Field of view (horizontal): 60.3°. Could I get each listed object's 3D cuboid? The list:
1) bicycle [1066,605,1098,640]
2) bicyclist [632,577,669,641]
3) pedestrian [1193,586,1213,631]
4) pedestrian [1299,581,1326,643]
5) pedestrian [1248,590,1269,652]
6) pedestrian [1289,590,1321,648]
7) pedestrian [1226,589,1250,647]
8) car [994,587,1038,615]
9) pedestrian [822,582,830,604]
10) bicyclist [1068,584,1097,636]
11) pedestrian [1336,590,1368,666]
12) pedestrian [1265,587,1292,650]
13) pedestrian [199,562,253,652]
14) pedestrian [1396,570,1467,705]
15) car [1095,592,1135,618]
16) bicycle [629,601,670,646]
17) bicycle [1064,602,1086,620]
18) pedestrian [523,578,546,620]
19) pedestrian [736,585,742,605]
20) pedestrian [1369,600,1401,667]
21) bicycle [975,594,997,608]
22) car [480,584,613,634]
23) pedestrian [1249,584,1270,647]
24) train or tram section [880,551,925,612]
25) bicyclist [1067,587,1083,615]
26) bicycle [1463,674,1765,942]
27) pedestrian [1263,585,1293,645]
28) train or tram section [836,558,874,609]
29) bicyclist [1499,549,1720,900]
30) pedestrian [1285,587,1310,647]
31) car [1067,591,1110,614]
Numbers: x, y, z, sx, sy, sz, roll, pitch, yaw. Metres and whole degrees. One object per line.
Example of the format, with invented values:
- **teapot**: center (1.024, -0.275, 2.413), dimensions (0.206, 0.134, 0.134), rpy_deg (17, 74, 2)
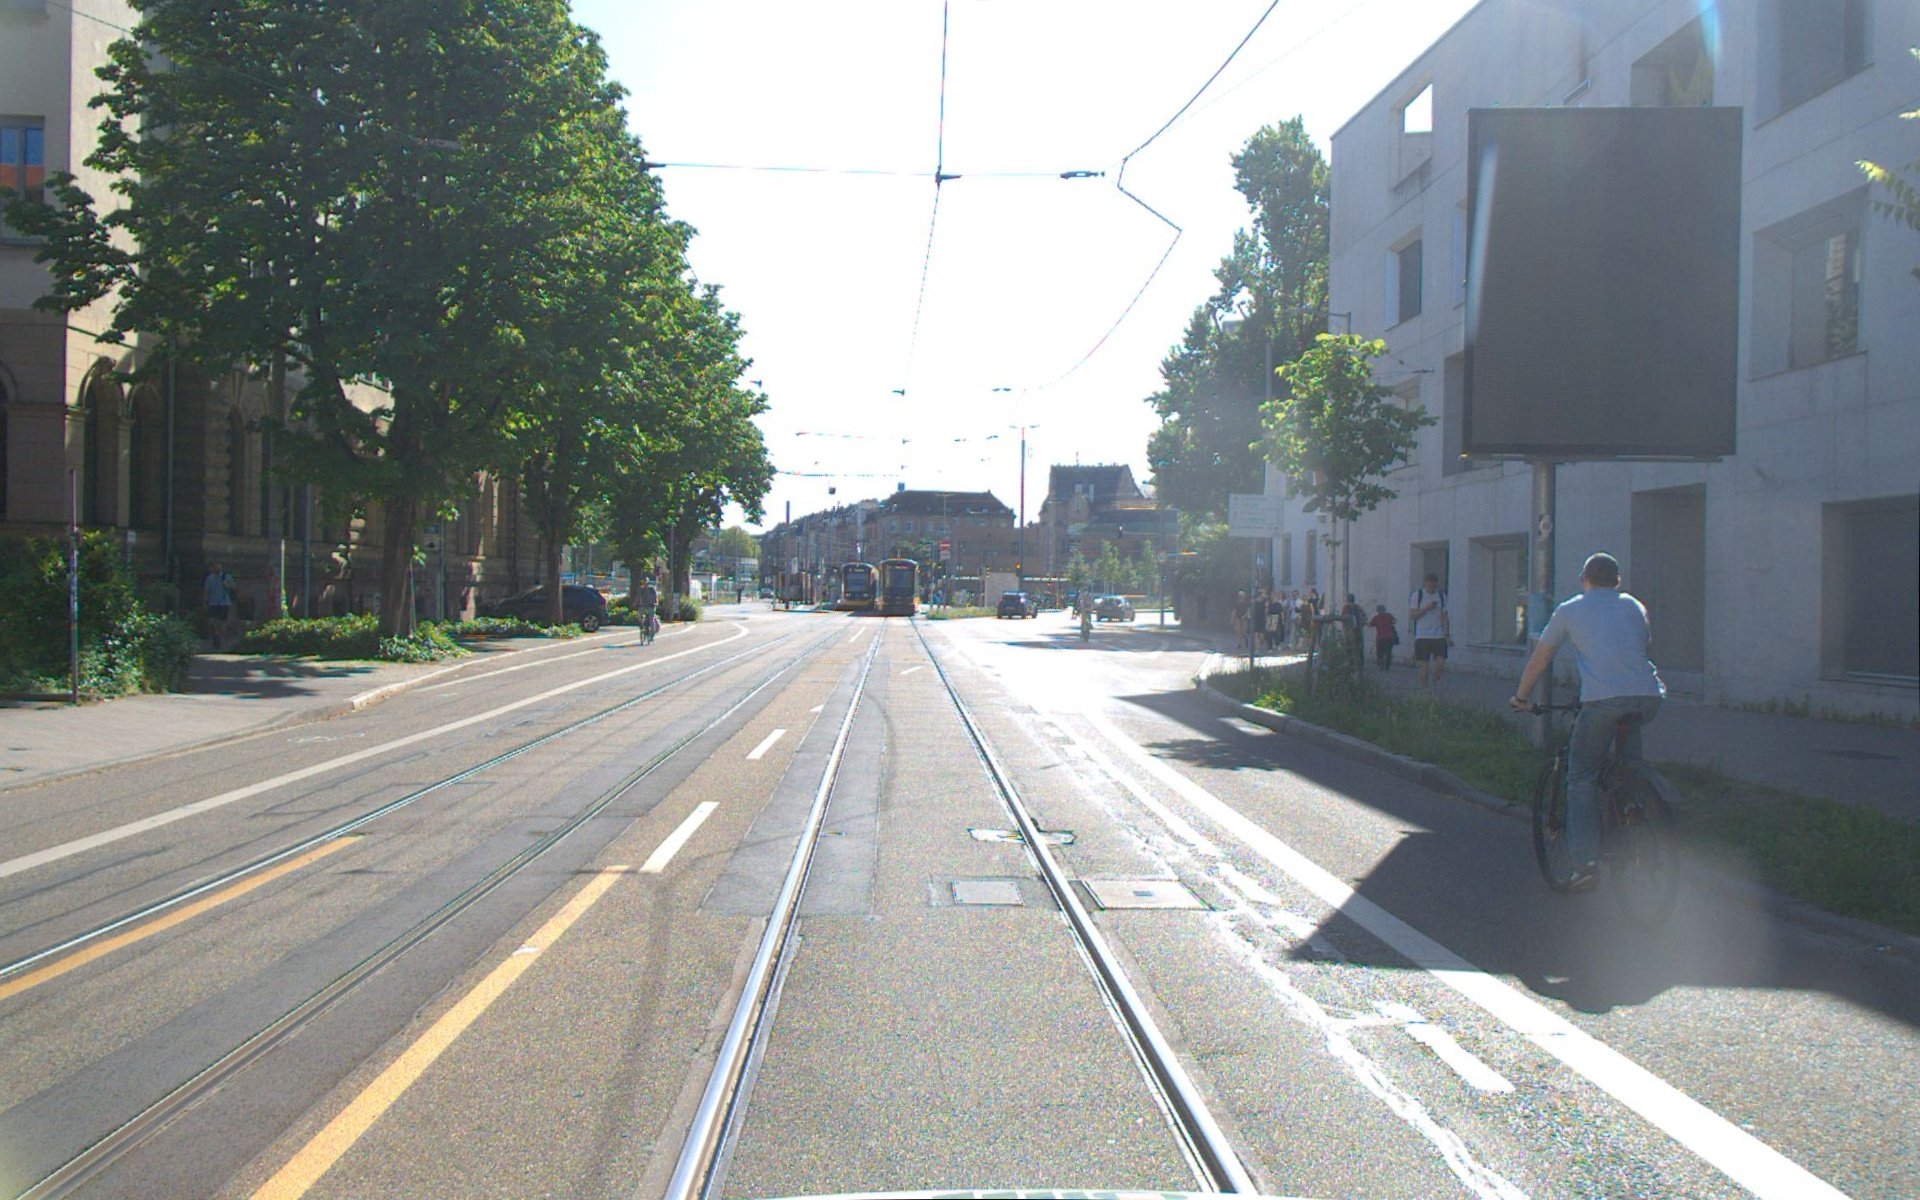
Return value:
- **bicycle**: center (4.156, 0.757, 56.121), dimensions (0.690, 1.124, 1.718), rpy_deg (2, 1, 17)
- **bicyclist**: center (-8.367, 0.241, 44.754), dimensions (0.672, 1.673, 1.238), rpy_deg (-1, 0, 2)
- **pedestrian**: center (10.672, 0.365, 72.572), dimensions (0.624, 1.937, 1.134), rpy_deg (-2, 0, -1)
- **pedestrian**: center (10.604, 0.352, 49.765), dimensions (0.643, 1.833, 0.732), rpy_deg (-3, 0, 6)
- **pedestrian**: center (8.721, 0.605, 48.387), dimensions (0.484, 1.758, 0.817), rpy_deg (-4, 0, 10)
- **pedestrian**: center (10.133, 0.549, 48.517), dimensions (0.811, 1.632, 0.894), rpy_deg (-4, 0, 12)
- **pedestrian**: center (8.746, 0.550, 52.047), dimensions (0.593, 1.777, 0.718), rpy_deg (-3, 0, 6)
- **car**: center (3.443, 0.025, 101.147), dimensions (1.751, 1.632, 3.715), rpy_deg (2, 1, 16)
- **pedestrian**: center (-11.300, -0.584, 139.758), dimensions (0.614, 1.859, 0.662), rpy_deg (0, 0, -3)
- **bicyclist**: center (4.168, 0.325, 56.116), dimensions (0.690, 1.704, 1.102), rpy_deg (2, 1, 17)
- **pedestrian**: center (8.411, 0.594, 35.496), dimensions (0.507, 1.628, 0.764), rpy_deg (0, 0, 1)
- **pedestrian**: center (9.325, 0.527, 48.475), dimensions (0.633, 1.793, 0.957), rpy_deg (-4, 0, 12)
- **pedestrian**: center (-15.353, 0.137, 34.614), dimensions (0.715, 1.828, 0.779), rpy_deg (3, 0, -3)
- **pedestrian**: center (6.762, 0.522, 23.761), dimensions (0.670, 1.882, 0.955), rpy_deg (-1, 0, -4)
- **car**: center (9.611, 0.288, 102.486), dimensions (1.751, 1.537, 3.715), rpy_deg (2, 1, 16)
- **bicycle**: center (-8.362, 0.627, 44.614), dimensions (0.672, 1.144, 1.932), rpy_deg (-2, 0, 2)
- **bicycle**: center (7.231, 0.705, 104.102), dimensions (0.690, 1.073, 2.313), rpy_deg (3, 1, 22)
- **pedestrian**: center (-17.040, -0.044, 66.261), dimensions (0.686, 1.663, 0.759), rpy_deg (3, 0, -3)
- **pedestrian**: center (-21.695, -0.493, 162.267), dimensions (0.514, 2.049, 0.522), rpy_deg (0, 0, 2)
- **pedestrian**: center (9.061, 0.706, 35.286), dimensions (0.507, 1.429, 0.764), rpy_deg (0, 0, 1)
- **bicycle**: center (2.243, 0.080, 143.909), dimensions (1.896, 1.122, 0.598), rpy_deg (0, 1, -5)
- **car**: center (-13.744, 0.303, 55.041), dimensions (3.944, 1.577, 1.859), rpy_deg (1, 0, -30)
- **pedestrian**: center (9.392, 0.493, 51.843), dimensions (0.507, 1.935, 0.612), rpy_deg (-3, 0, 6)
- **train or tram section**: center (-3.821, -1.229, 107.380), dimensions (2.687, 3.715, 13.778), rpy_deg (0, 1, -3)
- **bicyclist**: center (7.250, 0.080, 104.074), dimensions (0.690, 1.730, 0.987), rpy_deg (3, 1, 22)
- **bicycle**: center (3.354, 1.012, 8.726), dimensions (0.723, 1.113, 2.111), rpy_deg (2, 0, 0)
- **pedestrian**: center (9.910, 0.463, 51.502), dimensions (0.519, 1.805, 0.732), rpy_deg (-4, 0, 38)
- **train or tram section**: center (-7.985, -1.315, 127.273), dimensions (2.687, 3.715, 13.778), rpy_deg (0, 1, -3)
- **bicyclist**: center (3.365, 0.612, 8.647), dimensions (0.723, 1.715, 0.972), rpy_deg (2, 0, 0)
- **pedestrian**: center (10.432, 0.519, 51.103), dimensions (0.597, 1.805, 0.653), rpy_deg (-4, 0, 14)
- **car**: center (9.682, 0.174, 124.180), dimensions (1.671, 1.672, 3.702), rpy_deg (2, 1, 33)
